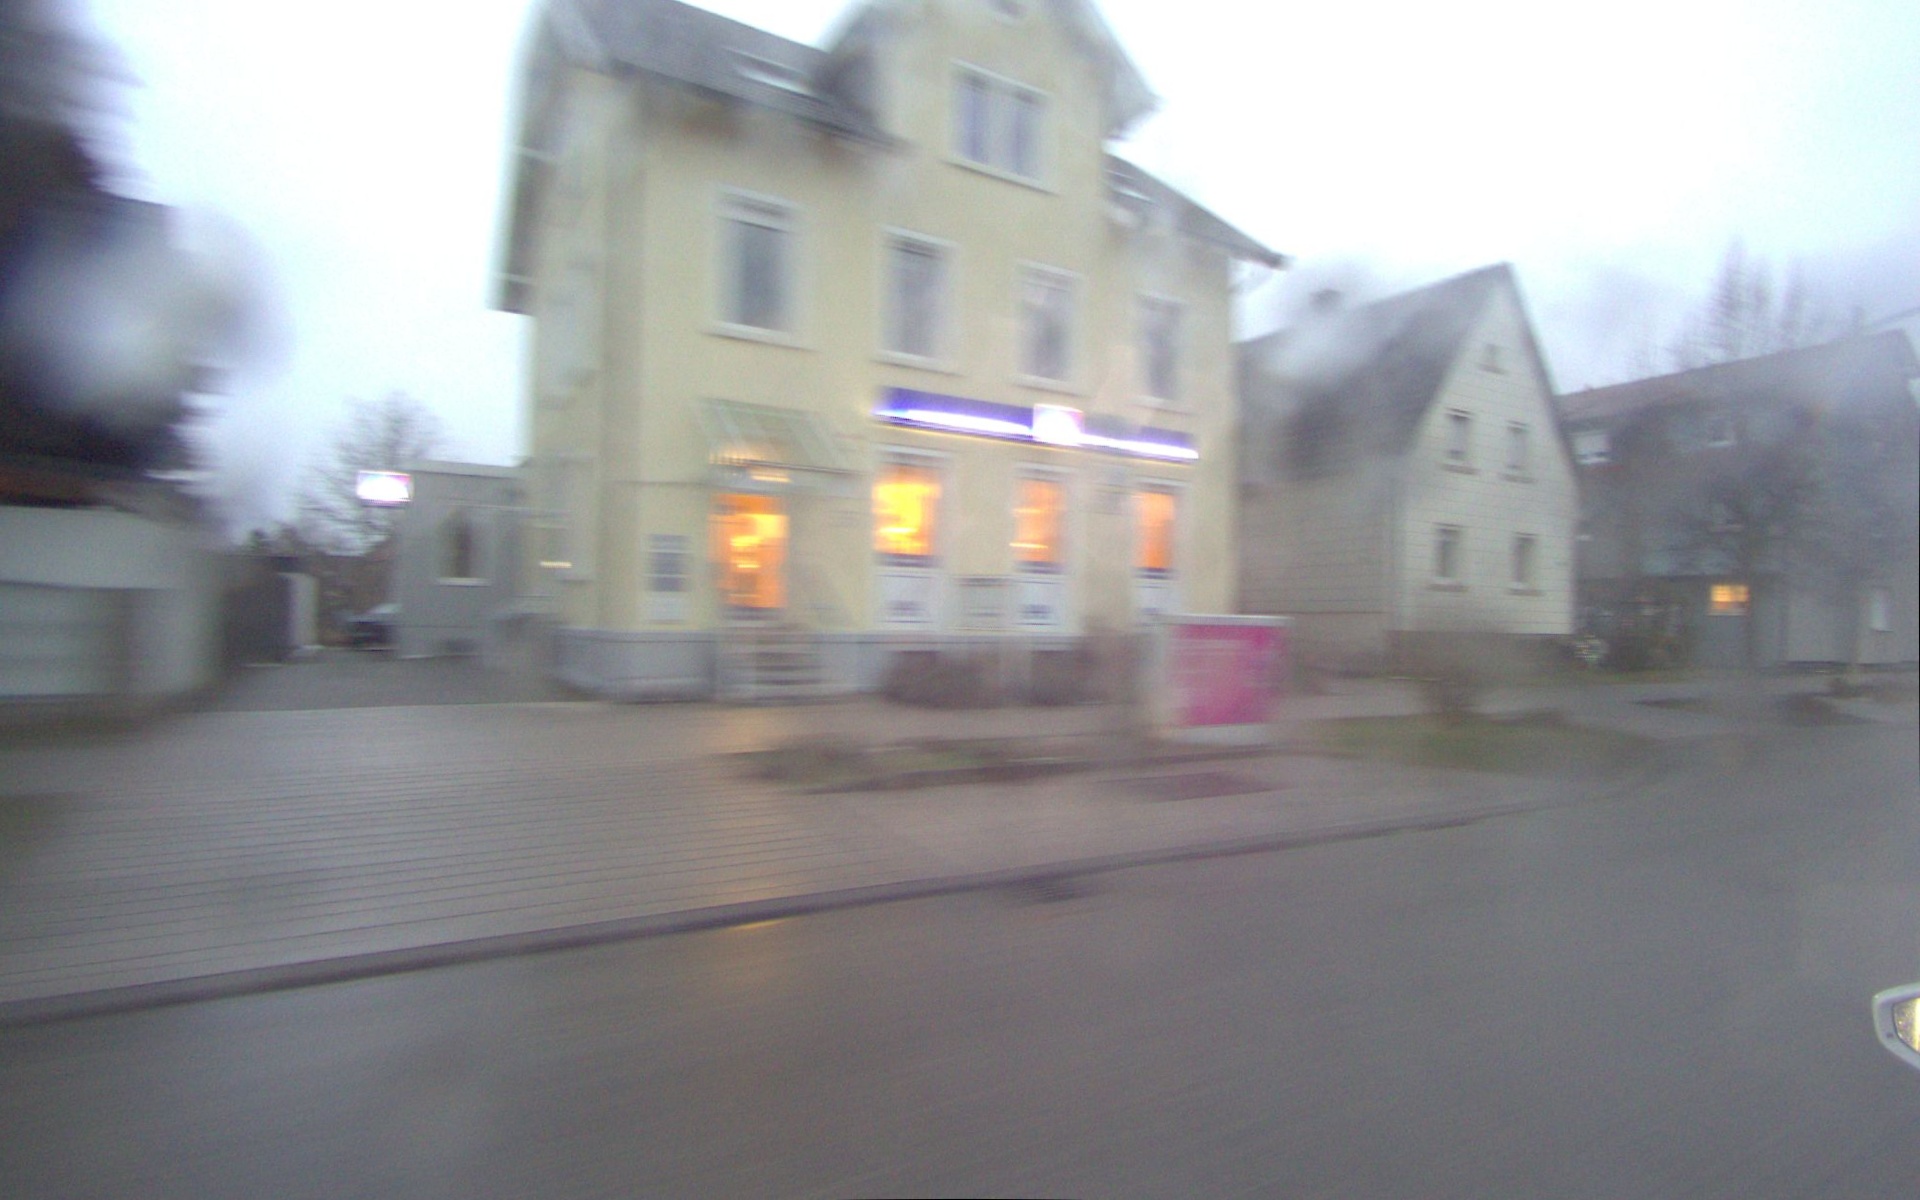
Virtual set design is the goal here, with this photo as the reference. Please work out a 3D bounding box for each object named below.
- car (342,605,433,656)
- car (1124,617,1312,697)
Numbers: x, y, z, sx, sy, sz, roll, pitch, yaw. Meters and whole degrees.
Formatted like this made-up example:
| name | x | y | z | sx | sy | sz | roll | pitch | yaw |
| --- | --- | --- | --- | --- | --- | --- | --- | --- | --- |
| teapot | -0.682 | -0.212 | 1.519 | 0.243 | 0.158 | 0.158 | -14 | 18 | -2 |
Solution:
| name | x | y | z | sx | sy | sz | roll | pitch | yaw |
| --- | --- | --- | --- | --- | --- | --- | --- | --- | --- |
| car | -18.434 | 0.977 | 32.495 | 1.452 | 1.520 | 3.713 | 1 | -1 | -12 |
| car | 5.735 | 1.223 | 22.752 | 1.900 | 1.621 | 3.967 | 1 | -1 | -31 |
